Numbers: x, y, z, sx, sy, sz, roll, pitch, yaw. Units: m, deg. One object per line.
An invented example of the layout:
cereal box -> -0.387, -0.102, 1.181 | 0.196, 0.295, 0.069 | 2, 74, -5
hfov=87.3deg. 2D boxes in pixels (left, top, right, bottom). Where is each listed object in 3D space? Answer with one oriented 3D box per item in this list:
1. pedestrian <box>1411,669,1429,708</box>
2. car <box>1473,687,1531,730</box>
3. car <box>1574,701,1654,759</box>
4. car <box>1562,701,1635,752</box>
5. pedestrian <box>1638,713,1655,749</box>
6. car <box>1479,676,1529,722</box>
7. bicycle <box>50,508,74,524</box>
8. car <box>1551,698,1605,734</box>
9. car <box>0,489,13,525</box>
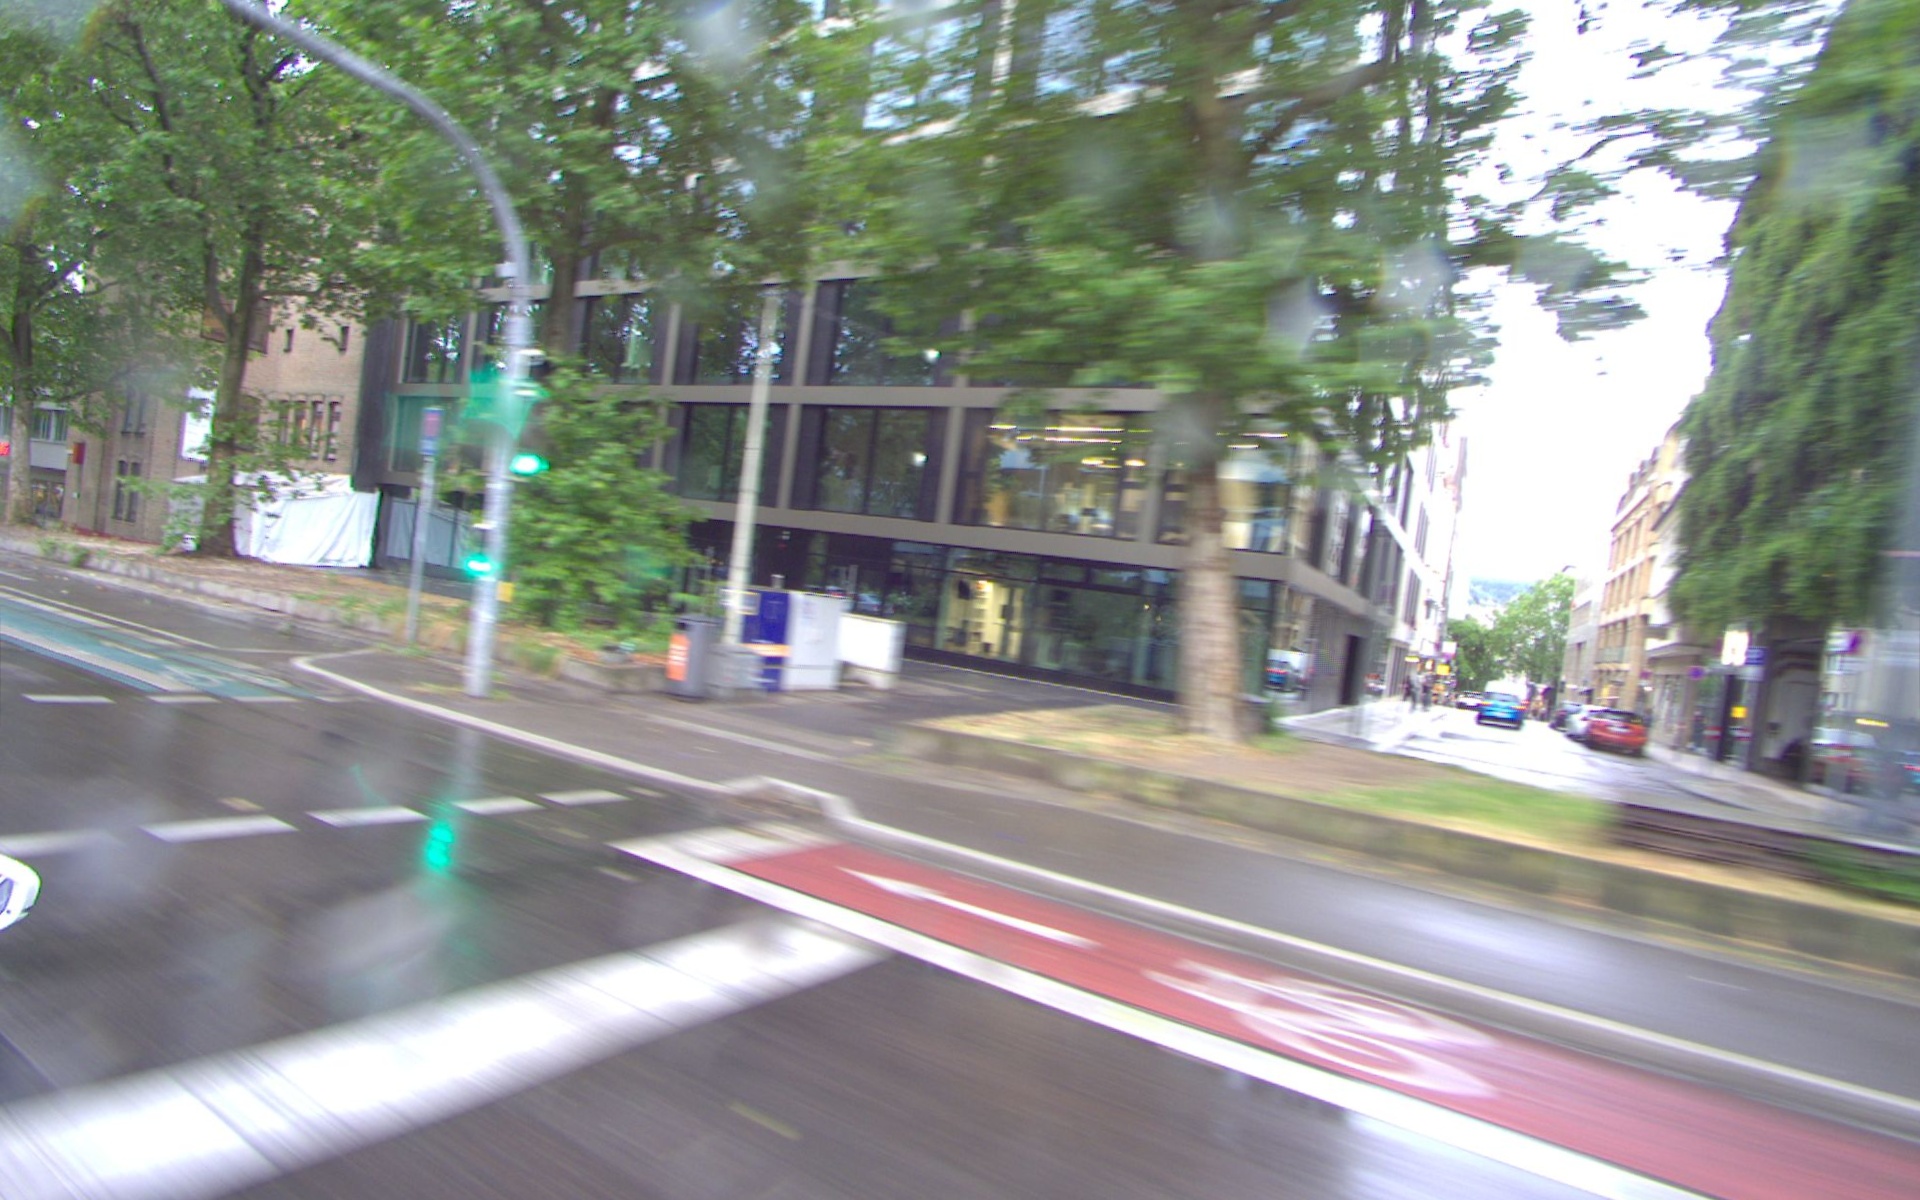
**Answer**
pedestrian -> 19.665, 3.799, 43.008 | 0.537, 1.579, 0.503 | 7, -1, 27
car -> 22.435, 4.433, 41.569 | 1.772, 1.453, 4.055 | 6, -1, 32
car -> 22.298, 4.417, 34.434 | 1.814, 1.607, 3.998 | 6, -3, 28
car -> 24.291, 4.786, 38.405 | 1.754, 1.607, 3.802 | 6, -3, 26
pedestrian -> 29.235, 5.560, 42.840 | 0.413, 1.473, 0.427 | 6, -1, 29
car -> 26.965, 4.921, 49.823 | 1.893, 1.968, 4.960 | 6, -3, 29
bicycle -> -53.990, -5.057, 60.476 | 1.993, 0.846, 0.449 | 6, -2, 32
car -> 29.692, 5.571, 48.434 | 1.814, 1.402, 3.998 | 6, -3, 28
car -> -31.466, -3.139, 31.064 | 2.861, 1.086, 1.446 | 9, -2, -28
